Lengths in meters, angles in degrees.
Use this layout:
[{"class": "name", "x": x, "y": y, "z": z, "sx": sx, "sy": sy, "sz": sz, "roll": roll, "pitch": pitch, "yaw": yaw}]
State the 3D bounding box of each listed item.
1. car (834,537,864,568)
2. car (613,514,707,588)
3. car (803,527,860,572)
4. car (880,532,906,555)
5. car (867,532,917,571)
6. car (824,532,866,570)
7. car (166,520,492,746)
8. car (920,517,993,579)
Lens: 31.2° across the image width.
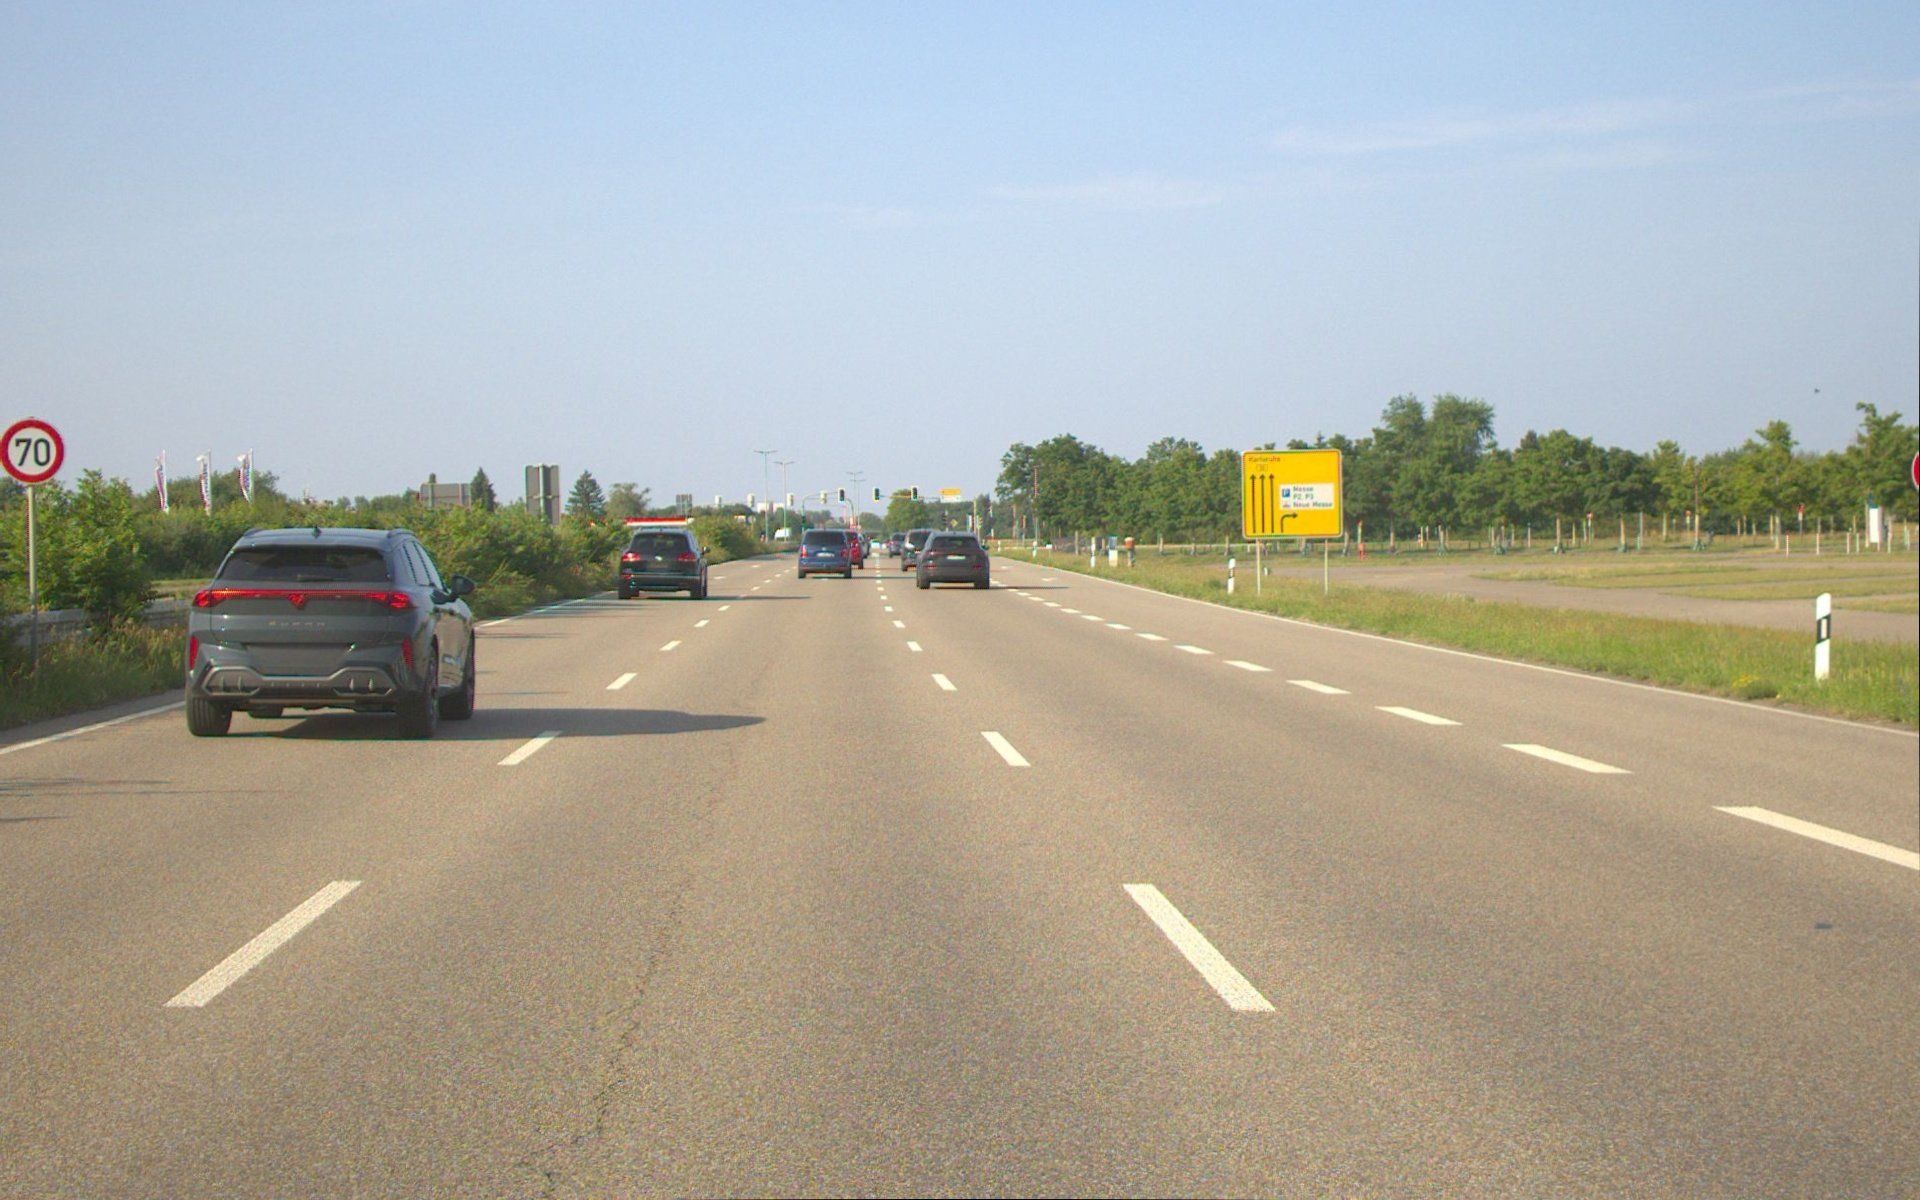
[{"class": "car", "x": -6.287, "y": -2.699, "z": 194.767, "sx": 1.645, "sy": 1.722, "sz": 3.401, "roll": 0, "pitch": 0, "yaw": -2}, {"class": "car", "x": -7.133, "y": -1.187, "z": 82.100, "sx": 1.932, "sy": 1.674, "sz": 4.401, "roll": 1, "pitch": 1, "yaw": -1}, {"class": "car", "x": -4.281, "y": -1.702, "z": 115.320, "sx": 1.812, "sy": 1.458, "sz": 4.401, "roll": 1, "pitch": 1, "yaw": -1}, {"class": "car", "x": -3.957, "y": -3.341, "z": 202.142, "sx": 1.503, "sy": 1.309, "sz": 3.156, "roll": 1, "pitch": 1, "yaw": -1}, {"class": "car", "x": -2.638, "y": -1.887, "z": 133.619, "sx": 1.873, "sy": 1.458, "sz": 3.981, "roll": 1, "pitch": 1, "yaw": -1}, {"class": "car", "x": -4.681, "y": -2.001, "z": 140.177, "sx": 1.647, "sy": 1.458, "sz": 3.981, "roll": 1, "pitch": 1, "yaw": -1}, {"class": "car", "x": -4.890, "y": 0.196, "z": 27.230, "sx": 1.845, "sy": 1.606, "sz": 4.401, "roll": 1, "pitch": 1, "yaw": -1}, {"class": "car", "x": -0.114, "y": -1.482, "z": 97.540, "sx": 1.932, "sy": 1.674, "sz": 4.401, "roll": 1, "pitch": 1, "yaw": -1}]
